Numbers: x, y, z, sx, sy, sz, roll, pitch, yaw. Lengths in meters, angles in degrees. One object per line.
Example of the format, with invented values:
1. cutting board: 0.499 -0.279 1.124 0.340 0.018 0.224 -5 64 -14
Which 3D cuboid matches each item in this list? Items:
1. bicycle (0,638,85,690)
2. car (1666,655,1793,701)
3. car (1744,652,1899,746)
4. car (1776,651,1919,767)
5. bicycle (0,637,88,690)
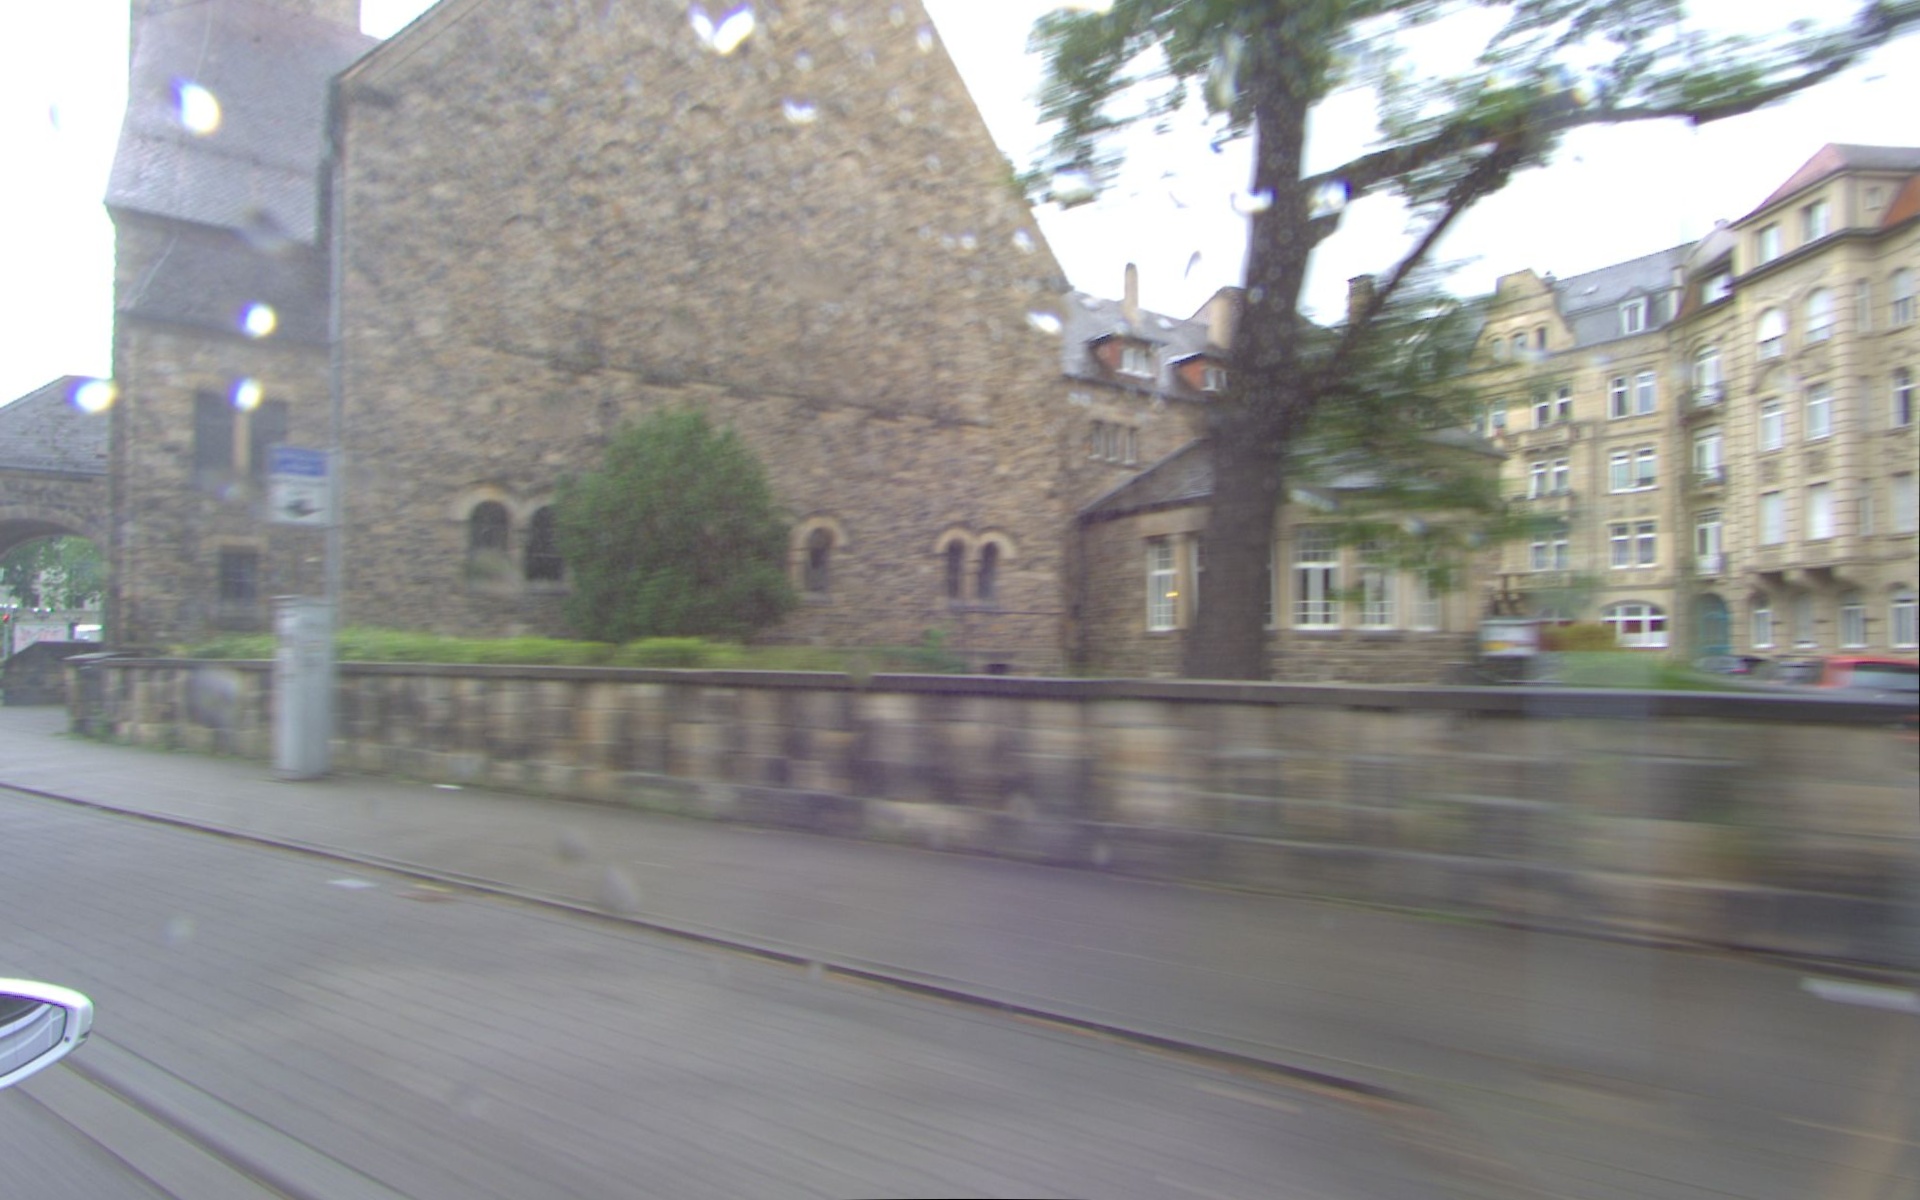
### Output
1. bicycle: -20.307 1.398 22.085 1.475 1.116 0.360 1 -1 -38
2. car: 30.105 3.014 39.335 1.682 1.576 4.144 2 -2 -2
3. car: 16.800 1.848 19.723 1.690 1.576 3.957 1 -2 32
4. car: 14.278 1.628 15.778 1.690 1.576 3.836 1 -2 32
5. bicycle: -20.007 1.375 21.803 1.510 1.116 0.360 1 -1 -38
